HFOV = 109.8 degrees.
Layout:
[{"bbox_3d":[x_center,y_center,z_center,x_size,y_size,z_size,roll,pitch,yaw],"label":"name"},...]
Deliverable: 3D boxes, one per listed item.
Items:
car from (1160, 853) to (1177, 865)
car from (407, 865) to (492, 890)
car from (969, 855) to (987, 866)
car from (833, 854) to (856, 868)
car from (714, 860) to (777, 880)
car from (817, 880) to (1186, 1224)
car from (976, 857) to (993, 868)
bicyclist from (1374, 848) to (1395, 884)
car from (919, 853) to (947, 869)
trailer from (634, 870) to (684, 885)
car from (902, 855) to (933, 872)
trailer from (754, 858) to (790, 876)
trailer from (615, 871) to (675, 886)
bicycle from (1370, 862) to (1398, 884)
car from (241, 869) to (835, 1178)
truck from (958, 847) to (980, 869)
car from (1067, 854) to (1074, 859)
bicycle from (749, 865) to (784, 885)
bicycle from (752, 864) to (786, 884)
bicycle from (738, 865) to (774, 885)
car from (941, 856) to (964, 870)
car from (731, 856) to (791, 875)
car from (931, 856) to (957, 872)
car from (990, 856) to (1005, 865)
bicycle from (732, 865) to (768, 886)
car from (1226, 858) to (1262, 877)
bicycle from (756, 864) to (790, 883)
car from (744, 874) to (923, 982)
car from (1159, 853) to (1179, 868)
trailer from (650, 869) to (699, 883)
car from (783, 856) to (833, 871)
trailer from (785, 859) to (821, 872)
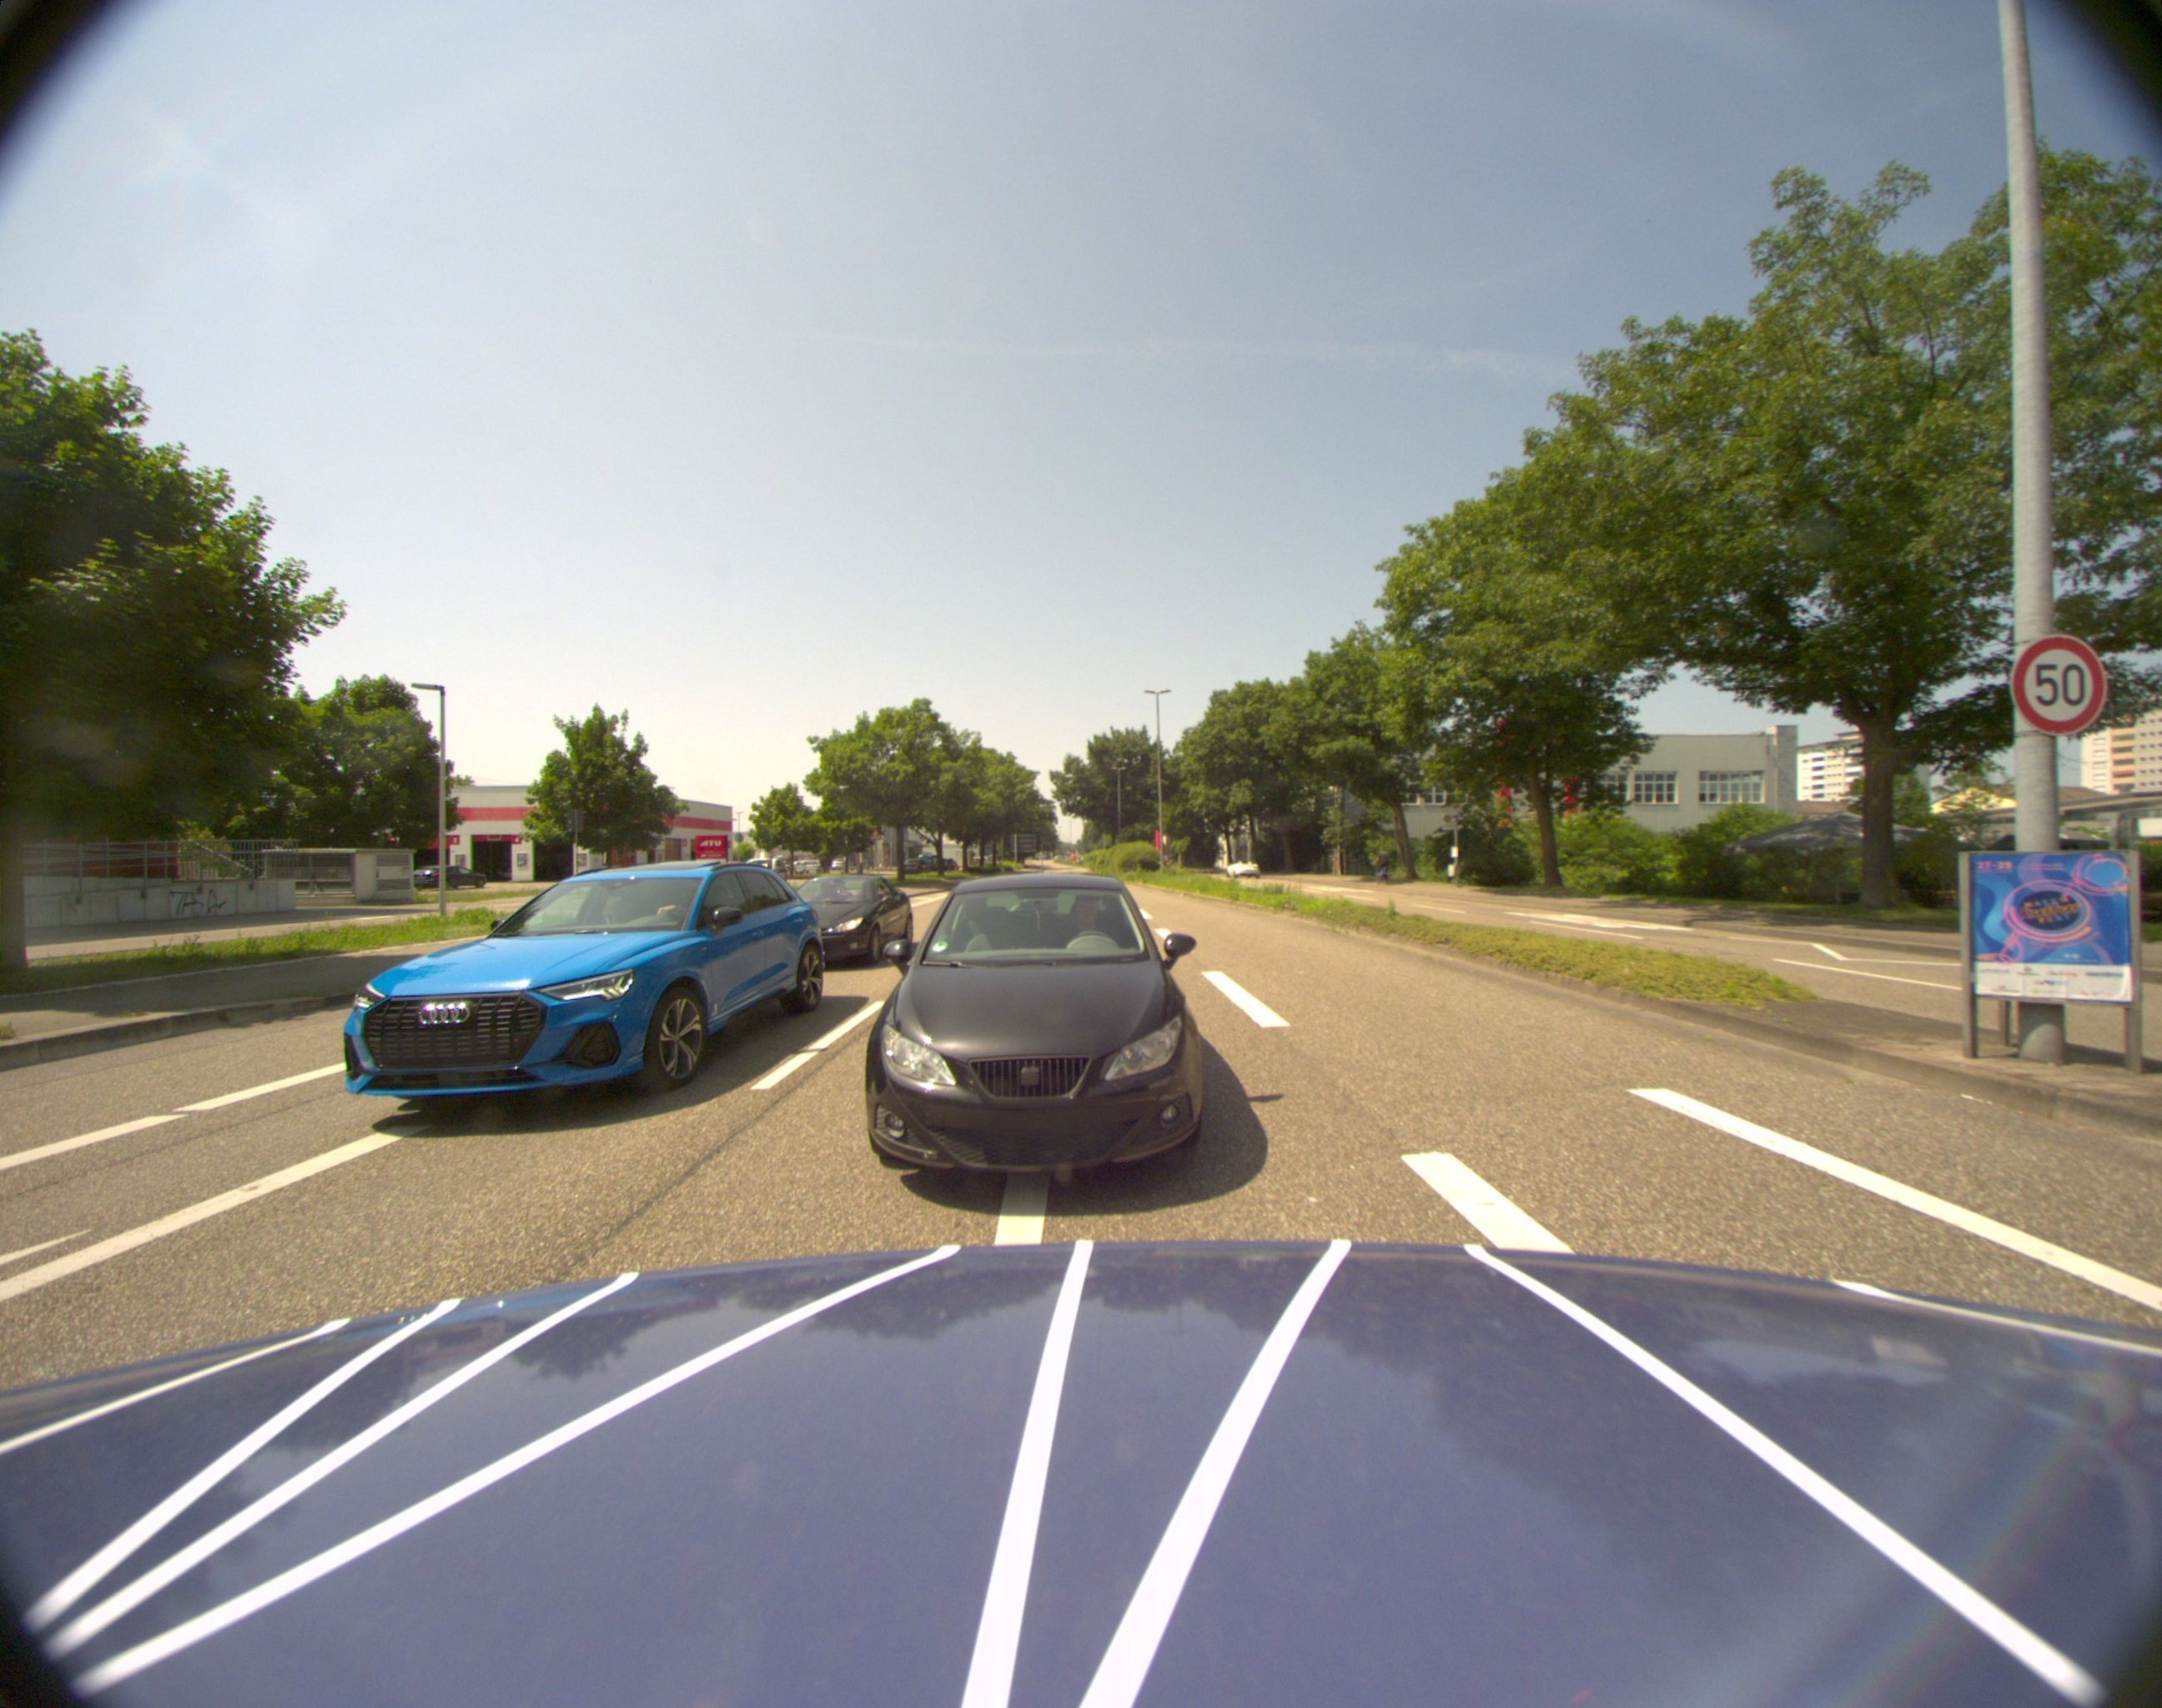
[{"bbox_3d":[11.549,0.676,100.483,1.710,1.444,3.891,2,0,0],"label":"car"},{"bbox_3d":[-38.179,1.409,46.088,1.717,1.364,4.145,0,0,0],"label":"car"},{"bbox_3d":[-13.332,0.833,98.113,1.719,1.458,4.000,0,0,1],"label":"car"},{"bbox_3d":[-27.444,0.766,88.244,1.759,1.586,3.997,0,0,-7],"label":"car"},{"bbox_3d":[-25.522,1.209,57.926,3.998,1.394,1.747,0,0,-2],"label":"car"},{"bbox_3d":[-0.371,0.953,5.405,1.642,1.395,4.000,0,0,-1],"label":"car"},{"bbox_3d":[-13.301,1.139,104.878,1.719,1.458,4.000,0,0,1],"label":"car"},{"bbox_3d":[15.100,0.579,37.787,0.651,1.759,0.927,-1,1,0],"label":"bicyclist"},{"bbox_3d":[-13.446,0.635,69.202,1.719,1.458,4.000,0,0,1],"label":"car"},{"bbox_3d":[-24.064,1.334,43.389,2.137,0.757,1.267,-1,0,1],"label":"trailer"},{"bbox_3d":[-13.531,0.792,62.974,1.642,1.363,4.000,0,0,1],"label":"car"},{"bbox_3d":[-27.381,1.124,67.335,2.642,1.518,1.415,0,0,-2],"label":"trailer"},{"bbox_3d":[-23.793,1.350,41.499,2.467,0.757,1.449,-1,0,1],"label":"trailer"},{"bbox_3d":[15.104,0.926,37.902,0.656,1.045,1.884,-1,0,1],"label":"bicycle"},{"bbox_3d":[-3.720,0.986,6.421,1.842,1.586,4.399,-1,0,0],"label":"car"},{"bbox_3d":[-13.565,0.491,92.278,1.904,2.552,4.000,0,0,2],"label":"truck"},{"bbox_3d":[-3.342,0.743,236.122,1.999,1.692,4.000,0,0,0],"label":"car"},{"bbox_3d":[-18.211,1.193,43.996,1.784,1.117,0.514,0,0,-6],"label":"bicycle"},{"bbox_3d":[-18.305,1.156,44.636,1.784,1.117,0.514,0,0,-6],"label":"bicycle"},{"bbox_3d":[-18.482,1.172,43.250,1.784,1.117,0.514,0,0,-6],"label":"bicycle"},{"bbox_3d":[-13.581,0.947,80.550,1.719,1.504,4.000,0,0,1],"label":"car"},{"bbox_3d":[-25.295,0.901,60.155,3.998,1.394,1.747,0,0,-3],"label":"car"},{"bbox_3d":[-13.353,0.979,74.376,1.719,1.511,4.000,0,0,1],"label":"car"},{"bbox_3d":[-13.043,1.029,118.710,1.719,1.458,4.000,0,0,1],"label":"car"},{"bbox_3d":[-18.567,1.190,42.624,1.784,1.117,0.514,0,0,-6],"label":"bicycle"},{"bbox_3d":[12.052,0.954,56.369,1.722,1.255,4.301,2,0,0],"label":"car"},{"bbox_3d":[-18.396,1.176,45.355,1.784,1.117,0.514,0,0,-6],"label":"bicycle"},{"bbox_3d":[-3.866,1.083,12.600,1.642,1.336,4.000,-3,0,0],"label":"car"},{"bbox_3d":[9.483,0.686,82.156,1.691,1.591,3.884,2,0,-1],"label":"car"},{"bbox_3d":[-24.047,1.300,44.965,2.137,0.757,1.394,-1,0,1],"label":"trailer"},{"bbox_3d":[-25.102,0.882,69.872,3.998,1.293,1.689,0,0,-3],"label":"car"},{"bbox_3d":[-24.694,1.025,67.505,2.642,1.046,1.578,0,0,-2],"label":"trailer"}]
